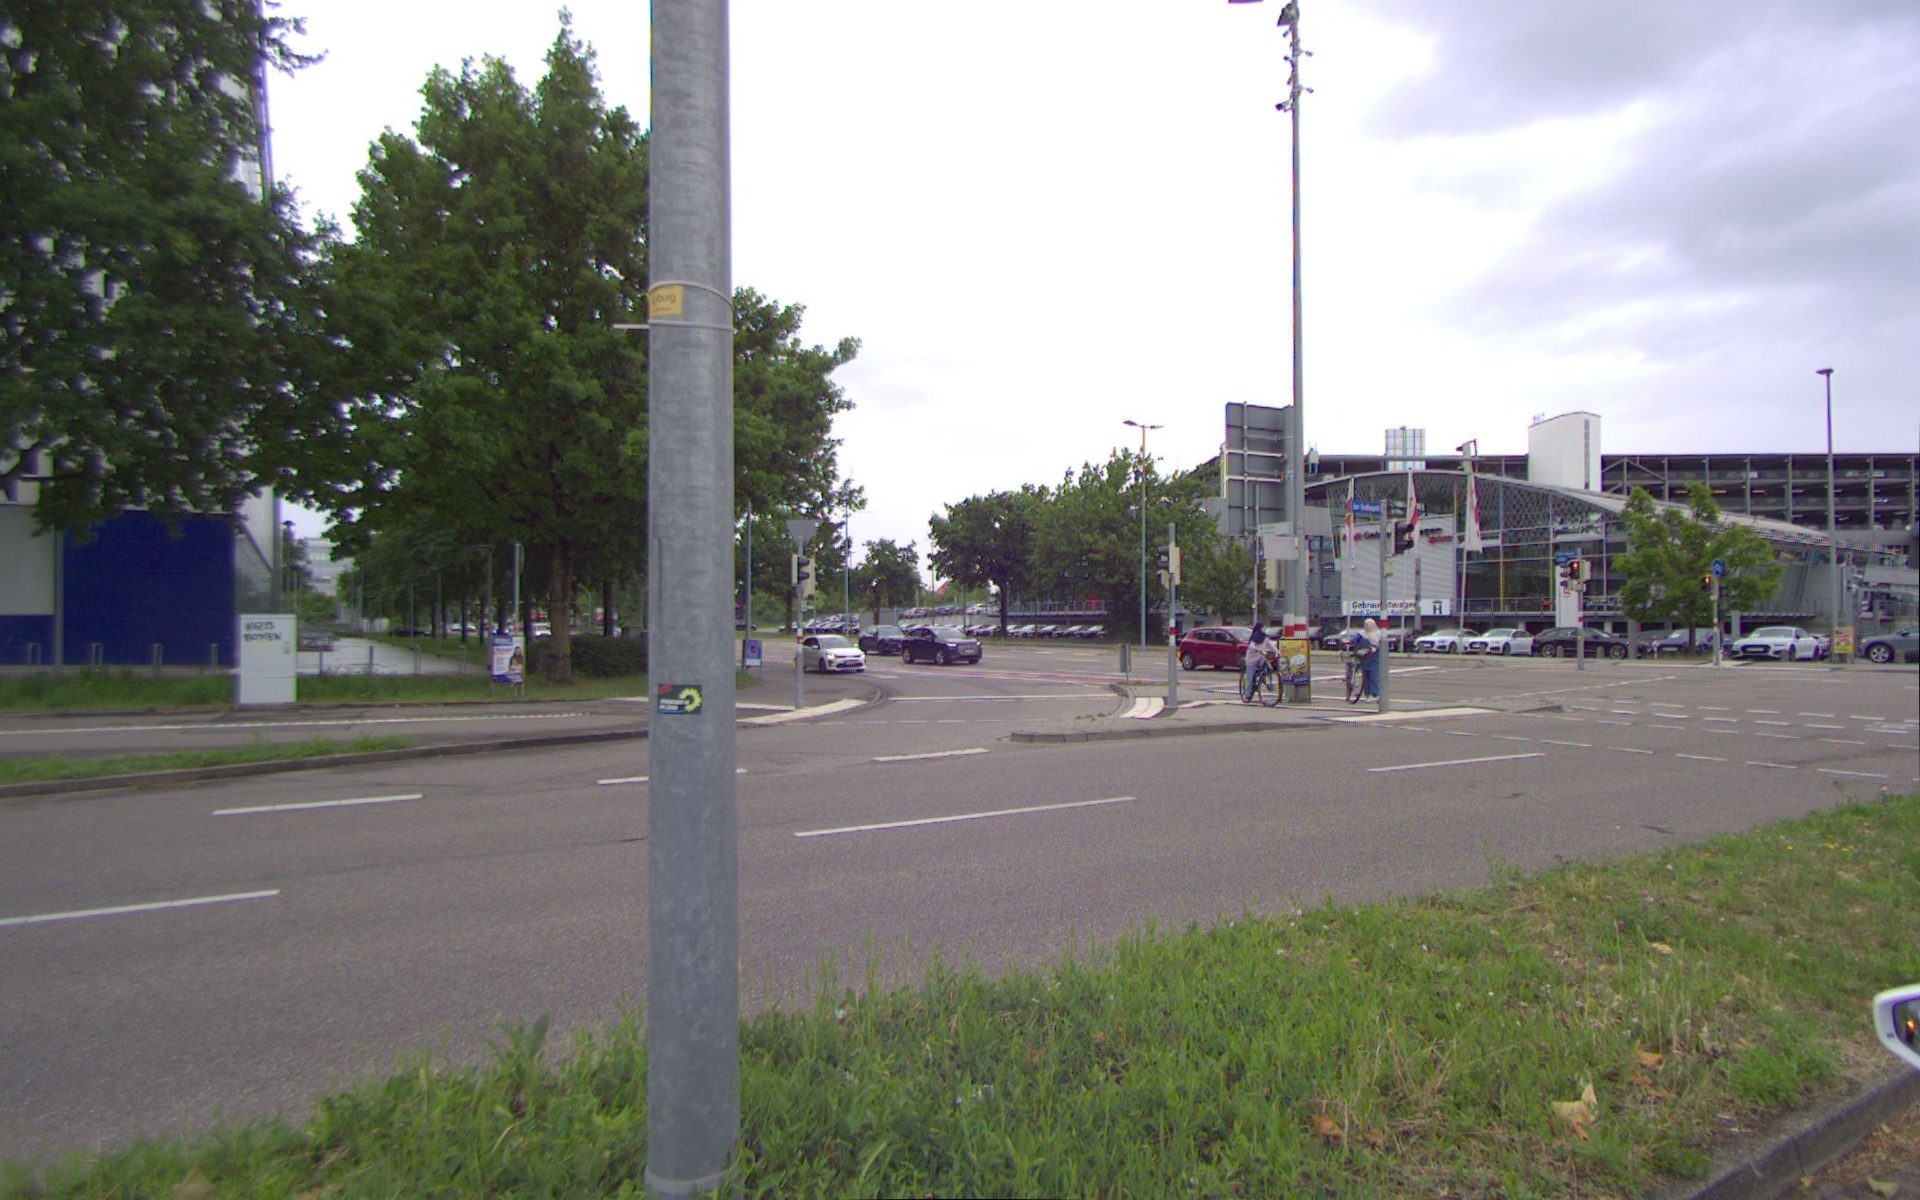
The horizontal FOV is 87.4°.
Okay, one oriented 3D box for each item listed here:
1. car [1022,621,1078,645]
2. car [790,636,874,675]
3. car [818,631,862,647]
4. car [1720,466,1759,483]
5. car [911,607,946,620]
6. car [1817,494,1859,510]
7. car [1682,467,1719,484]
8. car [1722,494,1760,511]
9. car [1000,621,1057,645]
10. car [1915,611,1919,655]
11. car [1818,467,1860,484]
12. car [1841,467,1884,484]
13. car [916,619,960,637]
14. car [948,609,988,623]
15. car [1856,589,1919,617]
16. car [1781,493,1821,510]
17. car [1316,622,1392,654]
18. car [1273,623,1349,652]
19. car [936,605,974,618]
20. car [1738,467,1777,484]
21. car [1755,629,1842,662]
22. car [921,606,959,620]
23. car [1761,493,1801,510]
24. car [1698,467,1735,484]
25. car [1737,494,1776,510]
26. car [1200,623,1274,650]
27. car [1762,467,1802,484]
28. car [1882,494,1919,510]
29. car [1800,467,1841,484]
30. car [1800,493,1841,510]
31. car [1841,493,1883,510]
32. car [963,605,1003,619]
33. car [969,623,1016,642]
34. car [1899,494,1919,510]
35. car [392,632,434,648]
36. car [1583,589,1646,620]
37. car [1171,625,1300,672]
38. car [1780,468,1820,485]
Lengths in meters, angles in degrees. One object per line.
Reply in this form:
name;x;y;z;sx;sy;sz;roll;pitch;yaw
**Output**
car;7.060;2.567;78.628;4.037;1.505;1.801;7;-3;-34
car;-5.121;2.177;39.841;1.768;1.471;3.897;1;-3;-33
car;-13.143;4.266;110.390;4.413;1.592;1.981;0;-1;-34
car;101.357;-16.260;130.642;1.960;1.689;4.001;1;0;2
car;-3.925;1.704;124.565;4.058;1.516;1.713;2;0;-35
car;113.581;-12.688;130.012;1.960;1.689;4.001;1;0;2
car;96.323;-16.156;130.677;1.960;1.689;4.001;1;0;2
car;101.480;-12.646;130.506;1.960;1.689;4.001;1;0;2
car;5.534;2.633;80.712;4.168;1.505;1.940;7;-3;-34
car;46.305;1.442;45.036;1.981;2.040;4.742;2;-4;-35
car;113.711;-16.092;130.015;1.960;1.689;4.001;1;0;2
car;116.734;-16.095;129.980;1.960;1.689;4.001;1;0;2
car;-1.947;2.517;91.055;3.639;1.506;1.696;2;0;-34
car;0.999;1.851;118.479;4.306;1.516;2.049;2;0;-35
car;64.958;0.219;69.552;1.740;1.862;3.965;2;0;-32
car;108.933;-12.745;130.161;1.960;1.689;4.001;1;0;2
car;21.624;2.092;55.122;4.148;1.505;1.891;4;-3;-34
car;20.106;2.153;57.537;4.335;1.489;1.877;4;-3;-34
car;-0.595;1.369;120.560;4.306;1.516;1.951;2;0;-35
car;103.566;-16.195;130.456;1.960;1.689;4.001;1;0;2
car;53.396;2.869;64.015;1.742;1.862;3.960;2;0;-35
car;-2.428;1.611;122.425;4.306;1.516;1.863;2;0;-35
car;106.475;-12.752;130.271;1.960;1.689;4.001;1;0;2
car;98.541;-16.241;130.850;1.960;1.689;4.001;1;0;2
car;103.688;-12.715;130.763;1.960;1.689;4.001;1;0;2
car;17.153;2.269;62.066;4.617;1.491;1.830;4;-2;-34
car;106.630;-16.125;130.302;1.960;1.689;4.001;1;0;2
car;121.931;-12.684;129.861;1.960;1.689;4.001;1;0;2
car;111.537;-16.165;130.228;1.960;1.689;4.001;1;0;2
car;111.435;-12.726;130.114;1.960;1.689;4.001;1;0;2
car;116.552;-12.734;129.880;1.960;1.689;4.001;1;0;2
car;2.663;1.360;116.206;4.306;1.516;1.863;2;0;-35
car;2.720;2.749;84.427;3.639;1.506;1.696;2;0;-34
car;124.152;-12.701;129.847;1.960;1.689;4.001;1;0;2
car;-62.154;4.548;114.188;3.962;1.639;1.785;2;0;-37
car;39.400;0.276;60.431;3.960;1.684;1.807;2;0;-35
car;9.195;1.627;33.849;1.724;1.507;4.039;2;-3;-35
car;108.902;-16.057;130.295;1.960;1.689;4.001;1;0;2
